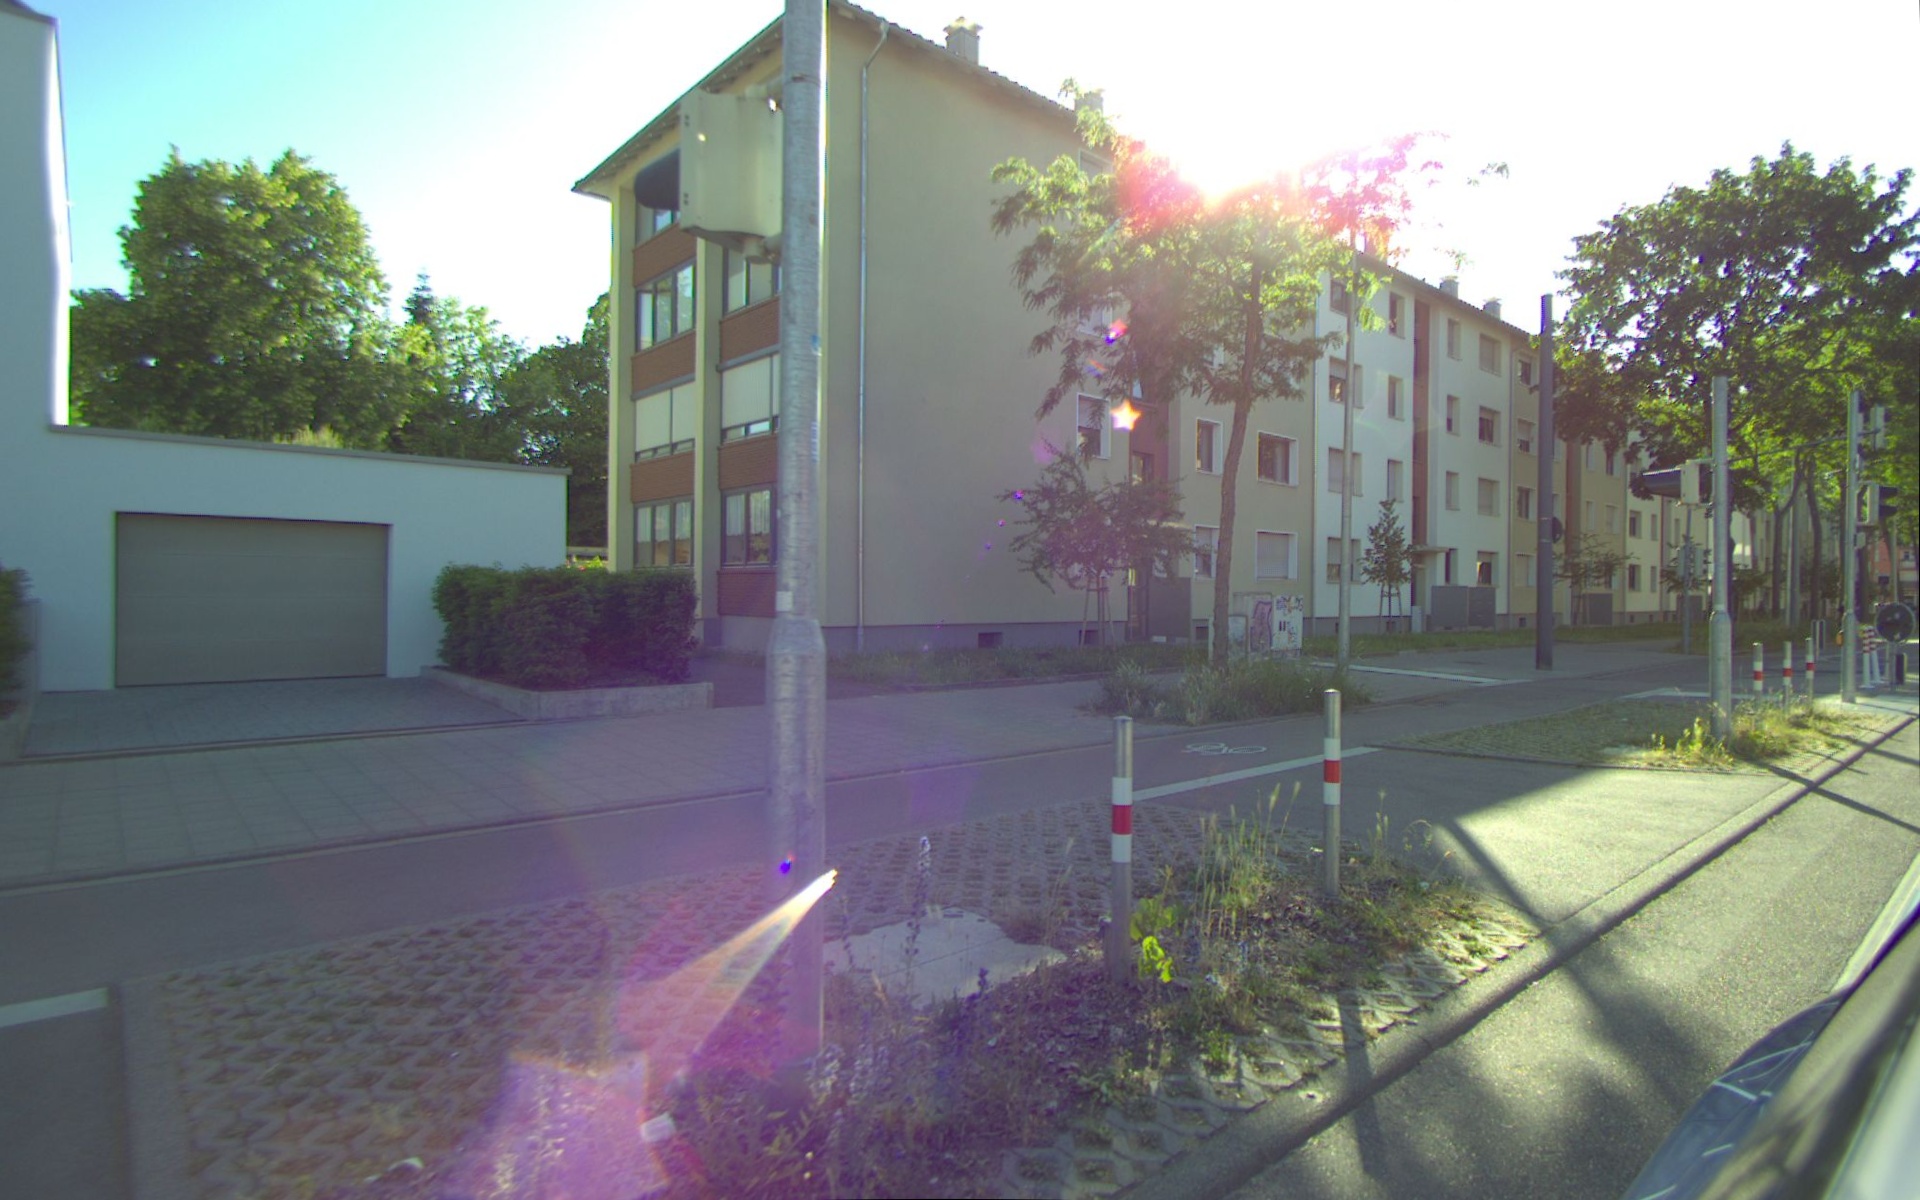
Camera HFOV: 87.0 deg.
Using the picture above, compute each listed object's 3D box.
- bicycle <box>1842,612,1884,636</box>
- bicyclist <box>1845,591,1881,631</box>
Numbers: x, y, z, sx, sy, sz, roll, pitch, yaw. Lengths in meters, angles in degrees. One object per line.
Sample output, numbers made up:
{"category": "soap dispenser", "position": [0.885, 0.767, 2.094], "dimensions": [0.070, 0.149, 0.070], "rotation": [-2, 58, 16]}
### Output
{"category": "bicycle", "position": [35.005, 0.922, 39.229], "dimensions": [2.158, 0.897, 0.827], "rotation": [0, 1, -38]}
{"category": "bicyclist", "position": [34.995, 0.418, 39.225], "dimensions": [1.235, 1.518, 0.819], "rotation": [0, 0, -38]}
